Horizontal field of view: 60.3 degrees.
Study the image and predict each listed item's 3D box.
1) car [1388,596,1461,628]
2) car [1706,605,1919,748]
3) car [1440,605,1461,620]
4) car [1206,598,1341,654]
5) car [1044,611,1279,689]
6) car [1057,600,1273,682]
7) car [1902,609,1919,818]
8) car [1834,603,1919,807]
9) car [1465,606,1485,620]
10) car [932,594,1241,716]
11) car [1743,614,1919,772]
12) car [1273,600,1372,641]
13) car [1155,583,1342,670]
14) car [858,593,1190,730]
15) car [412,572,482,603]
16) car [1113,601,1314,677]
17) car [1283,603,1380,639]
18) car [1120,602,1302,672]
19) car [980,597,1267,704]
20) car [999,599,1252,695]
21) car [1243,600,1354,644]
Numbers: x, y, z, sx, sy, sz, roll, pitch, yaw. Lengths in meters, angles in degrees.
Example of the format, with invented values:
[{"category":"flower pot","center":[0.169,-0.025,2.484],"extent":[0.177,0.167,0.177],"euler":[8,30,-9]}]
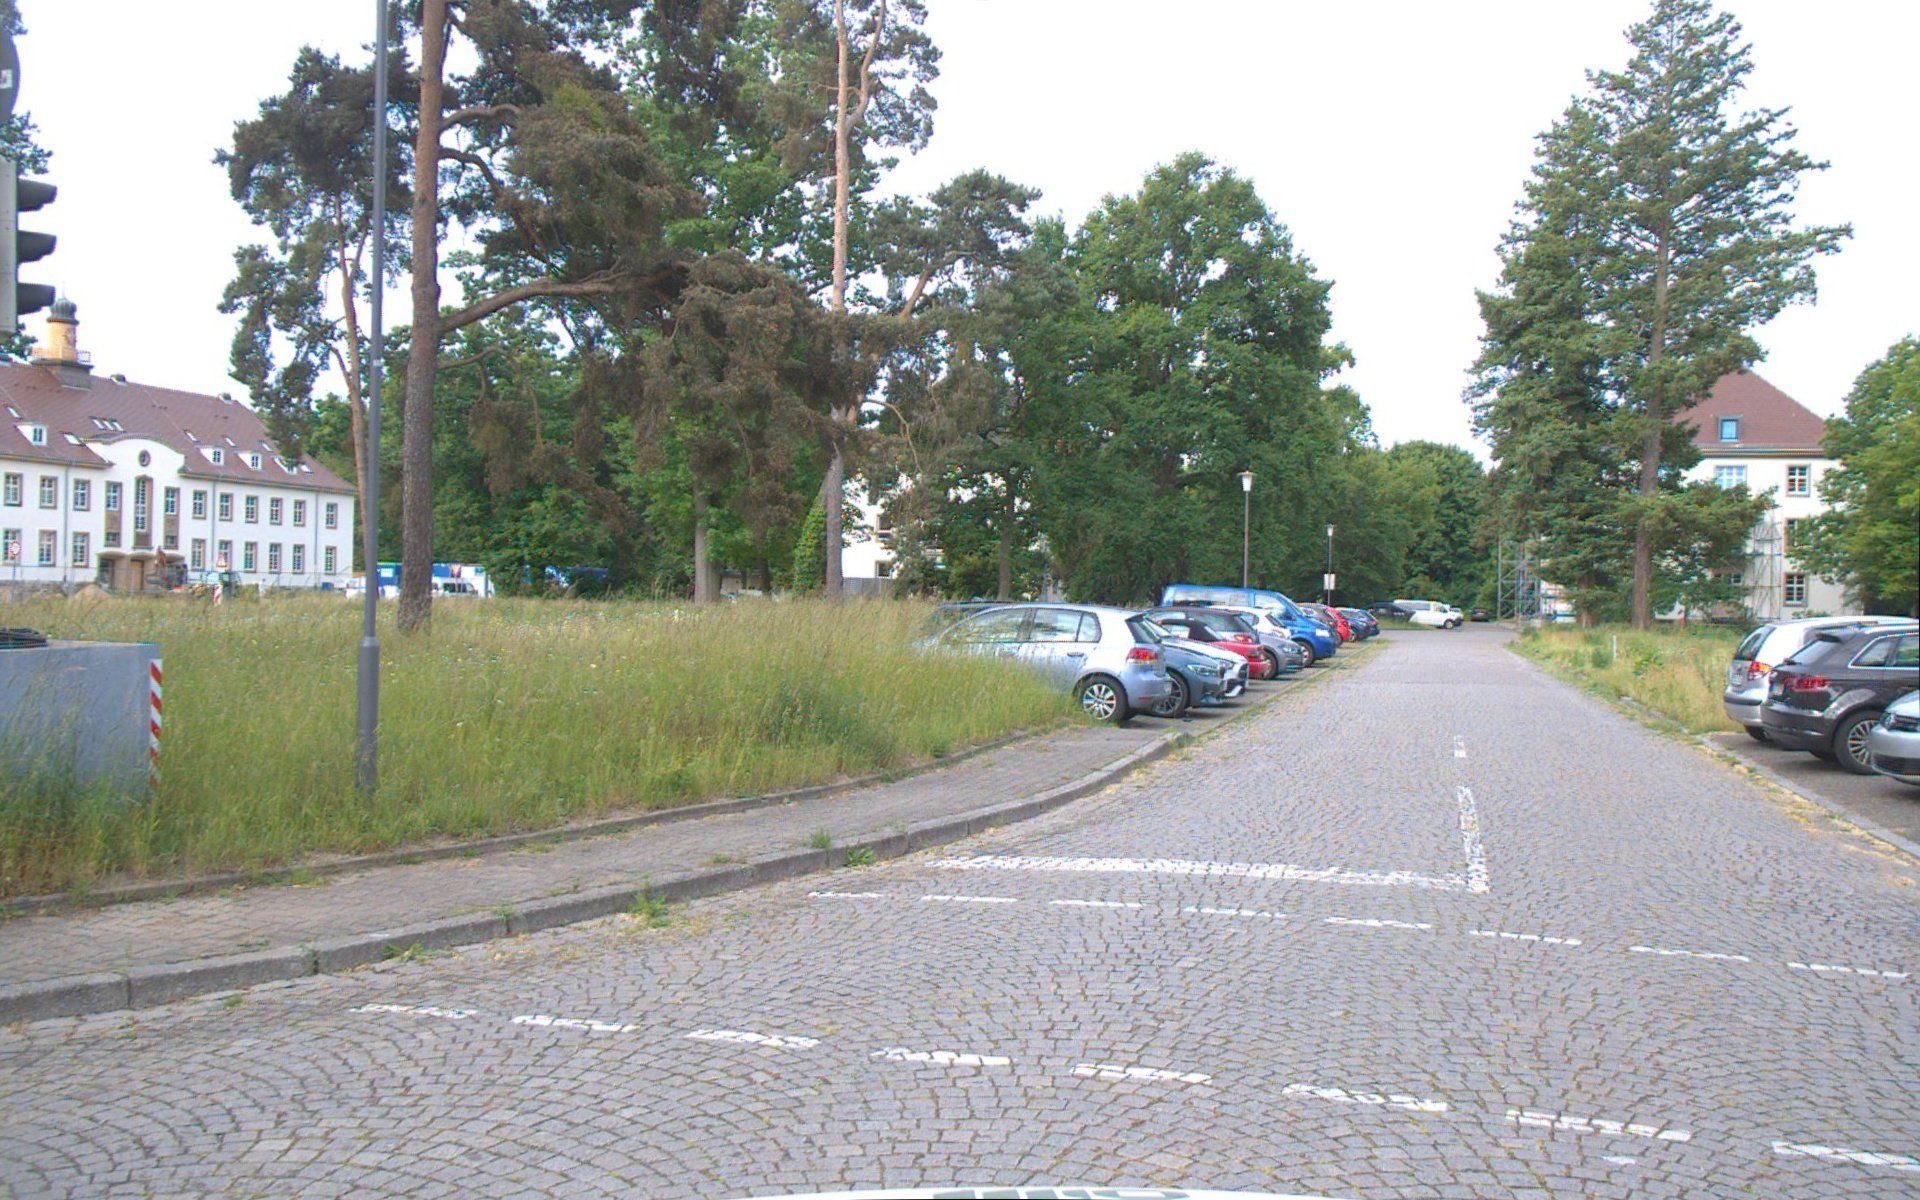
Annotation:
[{"category":"car","center":[34.473,0.868,122.778],"extent":[5.123,2.206,2.001],"euler":[1,0,14]},{"category":"car","center":[11.018,0.846,19.215],"extent":[3.986,1.541,1.806],"euler":[-2,-1,14]},{"category":"car","center":[55.001,1.398,185.557],"extent":[2.074,1.548,4.003],"euler":[1,0,15]},{"category":"car","center":[10.002,0.793,52.647],"extent":[4.077,1.650,1.988],"euler":[1,0,14]},{"category":"car","center":[3.776,0.901,30.906],"extent":[4.078,1.289,1.832],"euler":[1,0,18]},{"category":"car","center":[4.172,0.792,33.562],"extent":[4.078,1.508,1.846],"euler":[1,0,17]},{"category":"car","center":[9.256,0.798,11.409],"extent":[4.397,1.593,1.907],"euler":[-2,-1,14]},{"category":"car","center":[9.908,0.800,13.880],"extent":[4.149,1.624,1.887],"euler":[-2,-1,13]},{"category":"car","center":[57.594,1.436,185.087],"extent":[1.910,1.548,4.003],"euler":[1,0,15]},{"category":"car","center":[1.867,0.746,23.735],"extent":[4.159,1.575,1.937],"euler":[1,0,13]},{"category":"car","center":[10.258,0.876,16.613],"extent":[3.986,1.478,1.887],"euler":[-2,-1,14]},{"category":"car","center":[15.888,0.884,72.440],"extent":[4.139,1.604,1.888],"euler":[2,1,15]},{"category":"car","center":[7.704,0.663,44.059],"extent":[4.681,2.159,2.117],"euler":[1,0,16]},{"category":"car","center":[0.862,0.736,21.184],"extent":[3.902,1.570,1.907],"euler":[1,0,15]},{"category":"car","center":[-35.983,-0.828,116.068],"extent":[1.952,2.049,5.232],"euler":[1,-1,19]},{"category":"car","center":[5.543,0.818,36.087],"extent":[4.079,1.517,1.865],"euler":[1,0,18]},{"category":"car","center":[17.294,0.952,76.933],"extent":[4.213,1.486,1.976],"euler":[2,1,18]},{"category":"car","center":[5.945,0.836,39.056],"extent":[3.982,1.523,1.846],"euler":[1,0,17]},{"category":"car","center":[2.643,0.765,26.369],"extent":[4.281,1.534,1.937],"euler":[1,0,14]},{"category":"car","center":[2.893,0.776,28.693],"extent":[4.078,1.502,1.866],"euler":[1,0,16]},{"category":"car","center":[12.831,0.808,62.633],"extent":[3.969,1.552,1.906],"euler":[1,0,15]}]
